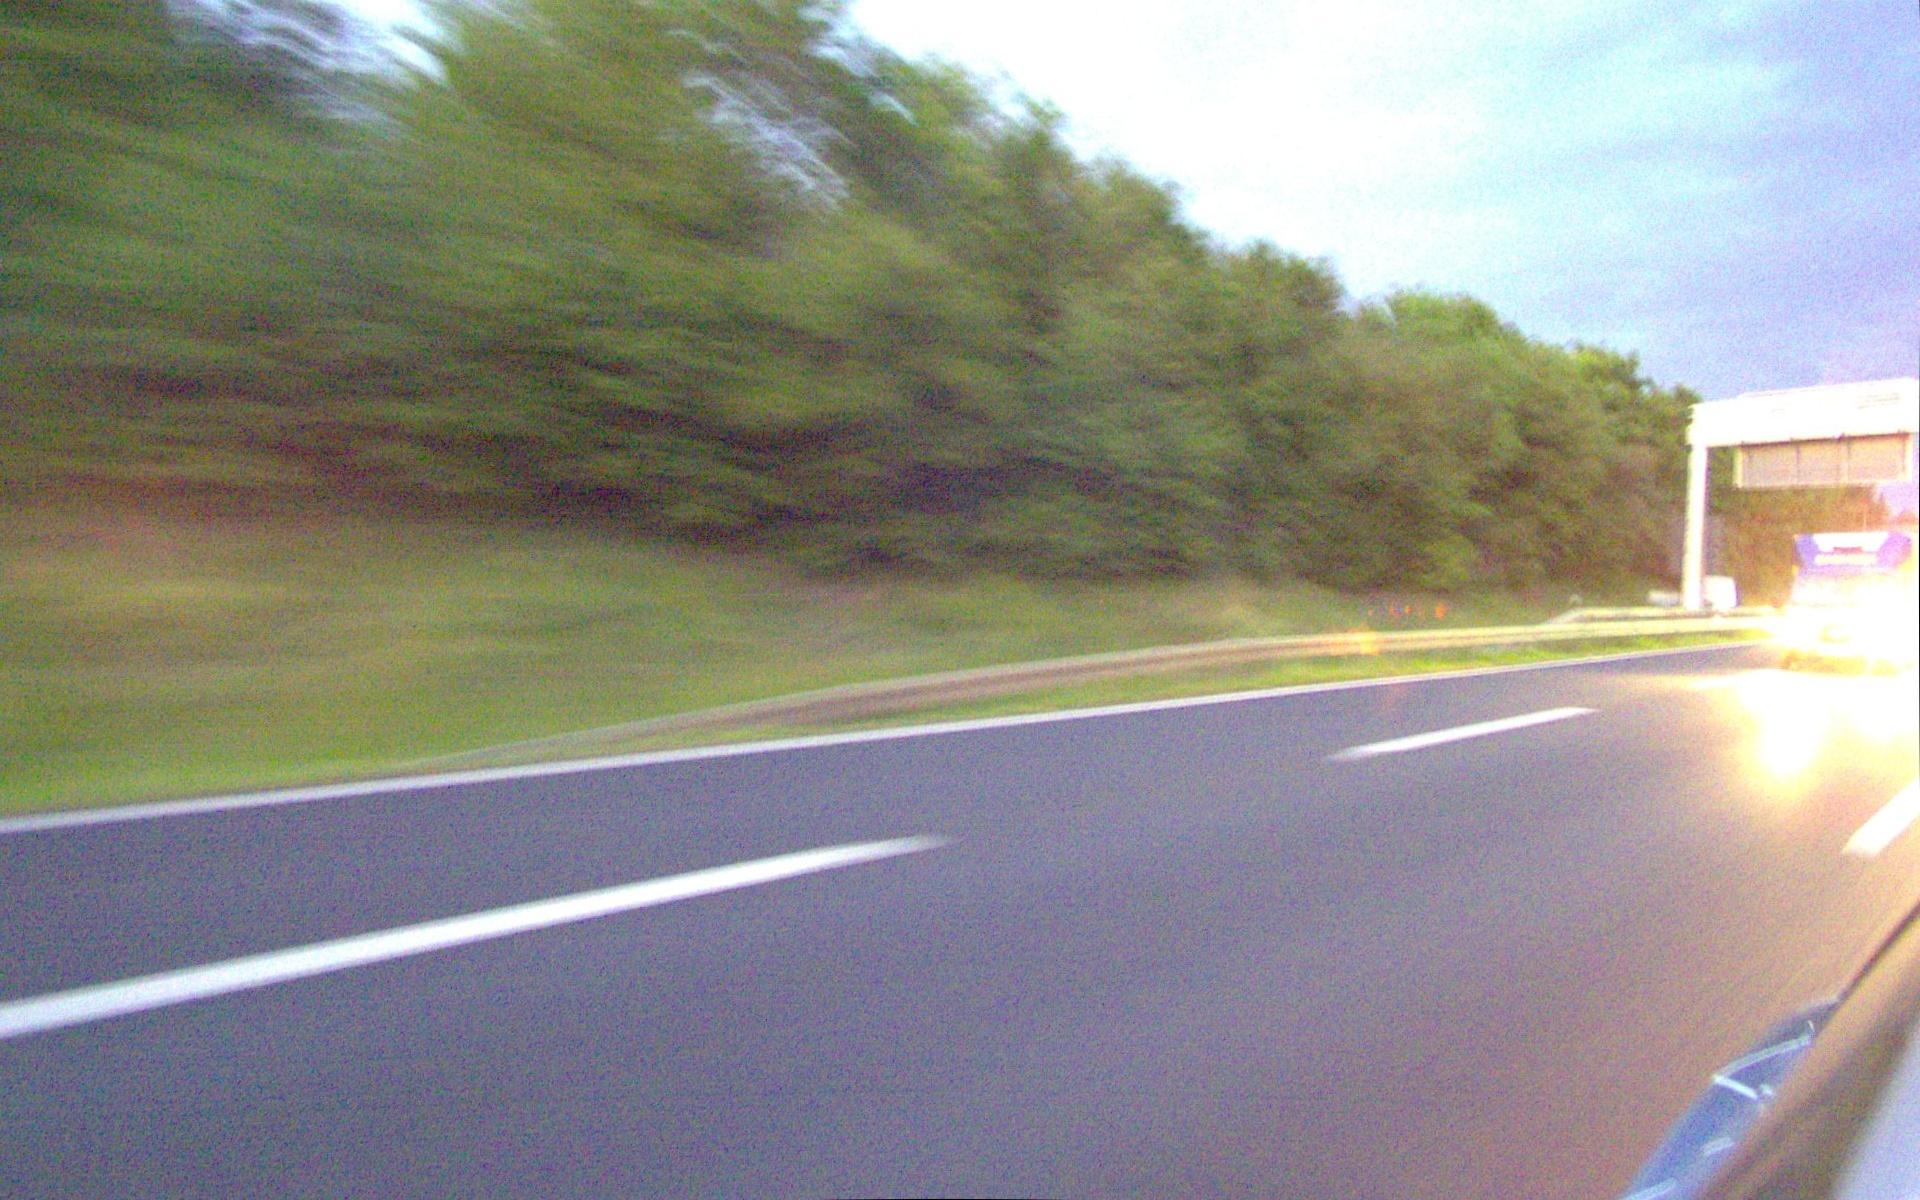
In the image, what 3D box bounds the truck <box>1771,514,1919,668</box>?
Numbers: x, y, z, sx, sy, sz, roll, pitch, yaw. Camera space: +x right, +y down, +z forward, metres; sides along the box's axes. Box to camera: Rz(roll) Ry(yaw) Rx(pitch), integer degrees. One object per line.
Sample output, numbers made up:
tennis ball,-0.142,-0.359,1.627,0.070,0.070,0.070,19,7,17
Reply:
truck,20.433,-0.183,22.870,6.517,3.009,2.271,0,0,-42
